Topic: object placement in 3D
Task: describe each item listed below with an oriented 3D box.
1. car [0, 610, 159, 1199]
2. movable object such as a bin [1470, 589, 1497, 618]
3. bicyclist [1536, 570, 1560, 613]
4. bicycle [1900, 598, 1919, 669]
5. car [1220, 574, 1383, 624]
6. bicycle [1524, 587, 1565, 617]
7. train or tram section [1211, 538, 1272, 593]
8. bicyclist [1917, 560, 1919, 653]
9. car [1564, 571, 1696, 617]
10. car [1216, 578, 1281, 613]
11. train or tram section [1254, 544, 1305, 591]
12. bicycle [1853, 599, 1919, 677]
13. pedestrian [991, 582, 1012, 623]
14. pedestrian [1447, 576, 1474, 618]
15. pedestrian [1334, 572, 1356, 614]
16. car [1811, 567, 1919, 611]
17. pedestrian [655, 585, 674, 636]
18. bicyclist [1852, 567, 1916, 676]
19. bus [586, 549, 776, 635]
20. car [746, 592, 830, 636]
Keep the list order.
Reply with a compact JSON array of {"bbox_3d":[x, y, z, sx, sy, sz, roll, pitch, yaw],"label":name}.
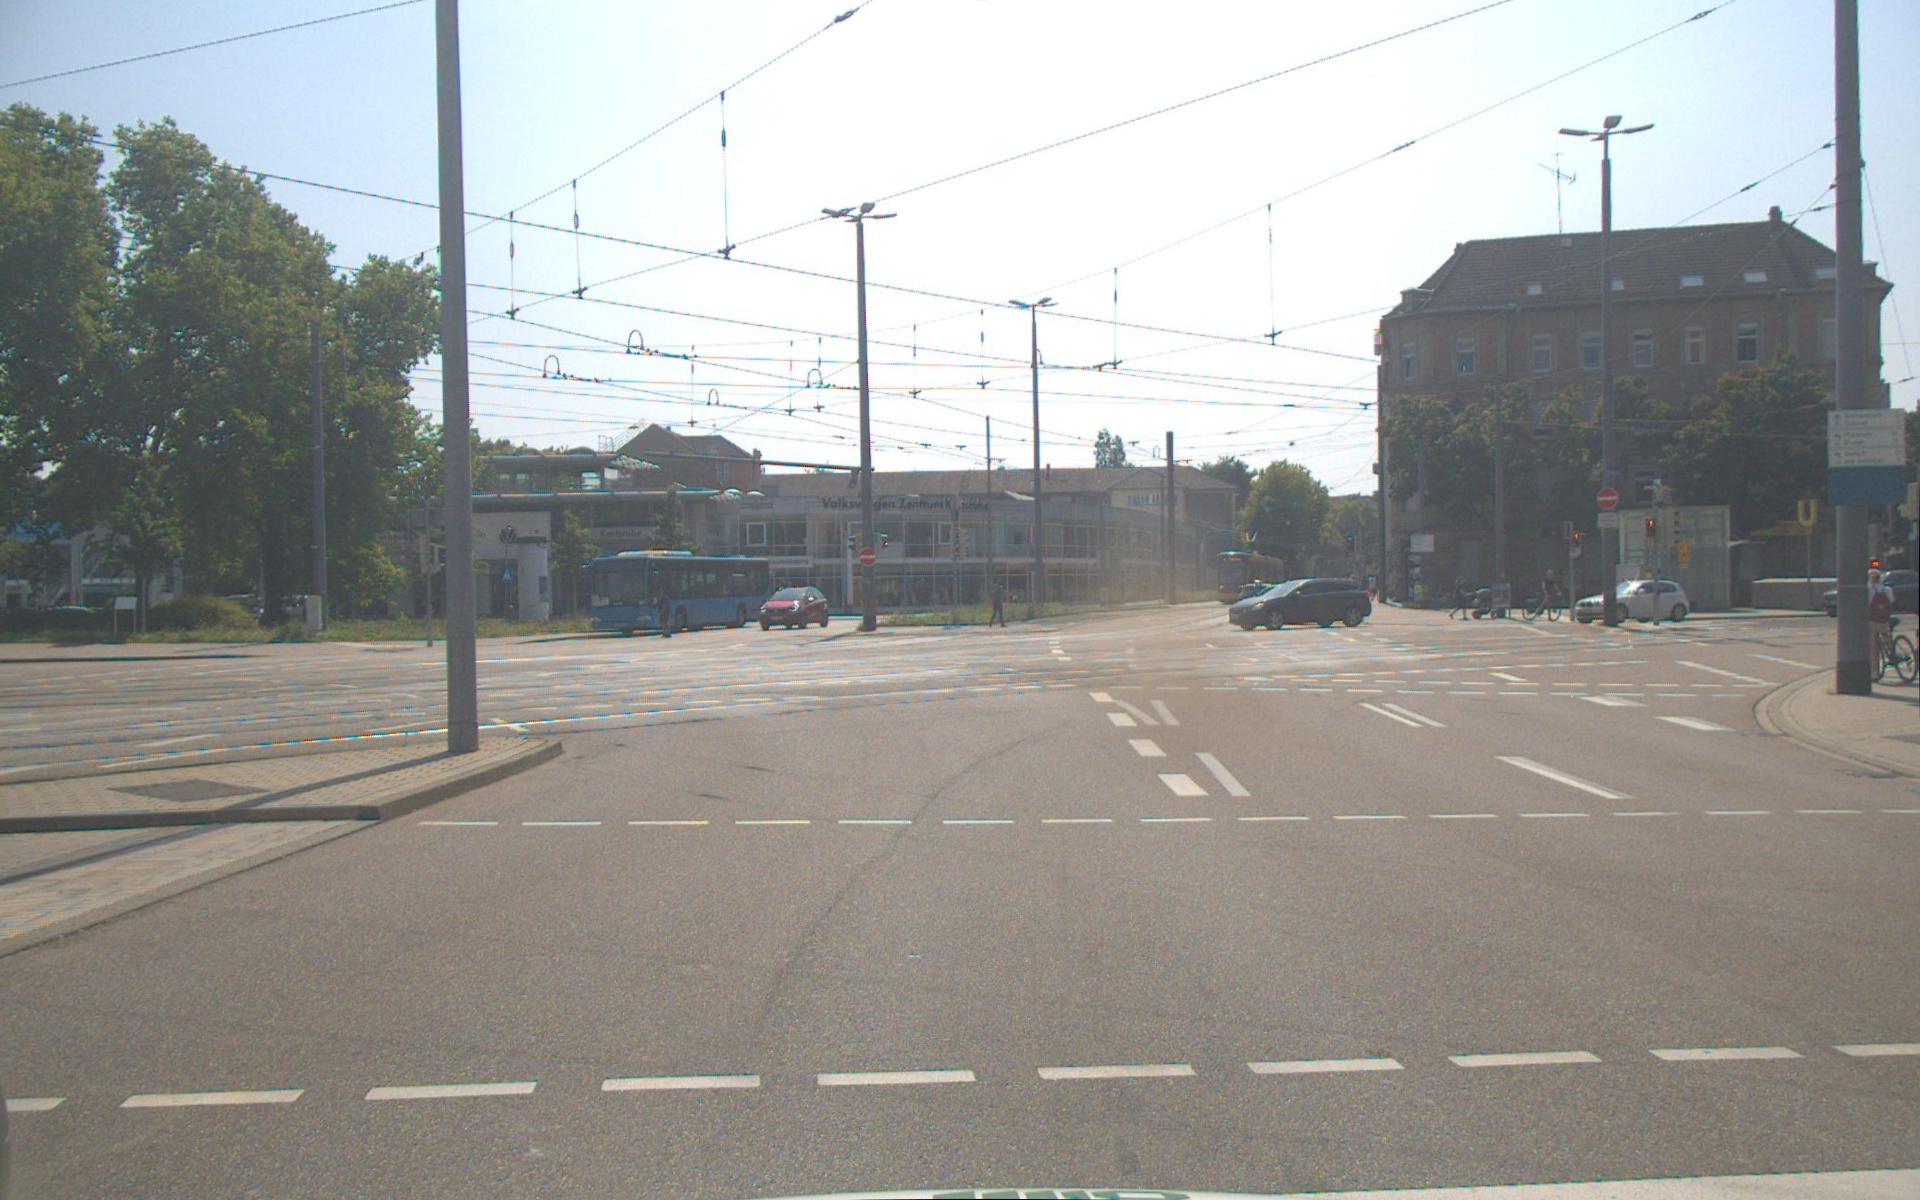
[{"bbox_3d":[-2.523,0.729,1.341,1.728,1.412,3.783,1,0,3],"label":"car"},{"bbox_3d":[19.831,0.122,62.651,0.798,1.096,0.510,-1,0,-11],"label":"movable object such as a bin"},{"bbox_3d":[21.470,-0.301,60.381,0.603,1.555,0.517,-1,0,-25],"label":"bicyclist"},{"bbox_3d":[14.995,0.519,25.346,0.525,1.073,1.655,-1,0,12],"label":"bicycle"},{"bbox_3d":[10.482,-0.048,50.744,4.684,1.440,1.765,-1,0,-20],"label":"car"},{"bbox_3d":[21.397,0.064,60.555,0.462,1.073,1.643,-1,0,-20],"label":"bicycle"},{"bbox_3d":[19.625,-2.324,114.733,2.534,3.578,10.904,-1,0,18],"label":"train or tram section"},{"bbox_3d":[14.913,0.101,24.976,0.519,1.417,0.894,-1,0,12],"label":"bicyclist"},{"bbox_3d":[22.594,-0.217,55.790,4.132,1.440,1.763,-1,0,-23],"label":"car"},{"bbox_3d":[12.267,-0.204,70.177,1.560,1.418,3.995,-1,0,27],"label":"car"},{"bbox_3d":[26.226,-2.595,135.323,2.534,3.578,12.979,-1,0,18],"label":"train or tram section"},{"bbox_3d":[13.427,0.530,23.828,0.525,1.073,1.655,-1,0,12],"label":"bicycle"},{"bbox_3d":[1.481,0.098,59.607,0.666,1.468,0.364,-1,0,-18],"label":"pedestrian"},{"bbox_3d":[19.038,-0.103,62.934,0.834,1.572,0.528,-1,0,-9],"label":"pedestrian"},{"bbox_3d":[15.372,-0.286,66.087,0.686,1.631,0.572,-1,0,-8],"label":"pedestrian"},{"bbox_3d":[33.860,-0.407,60.934,4.545,1.531,1.987,-1,0,-21],"label":"car"},{"bbox_3d":[-10.100,0.347,56.576,0.544,1.713,0.452,-1,0,-19],"label":"pedestrian"},{"bbox_3d":[13.439,0.306,24.074,0.614,1.544,0.712,-1,0,12],"label":"bicyclist"},{"bbox_3d":[-10.881,-0.341,66.438,2.508,3.136,12.031,-1,0,16],"label":"bus"},{"bbox_3d":[-6.532,0.527,63.226,1.713,1.579,4.002,-1,0,17],"label":"car"}]
